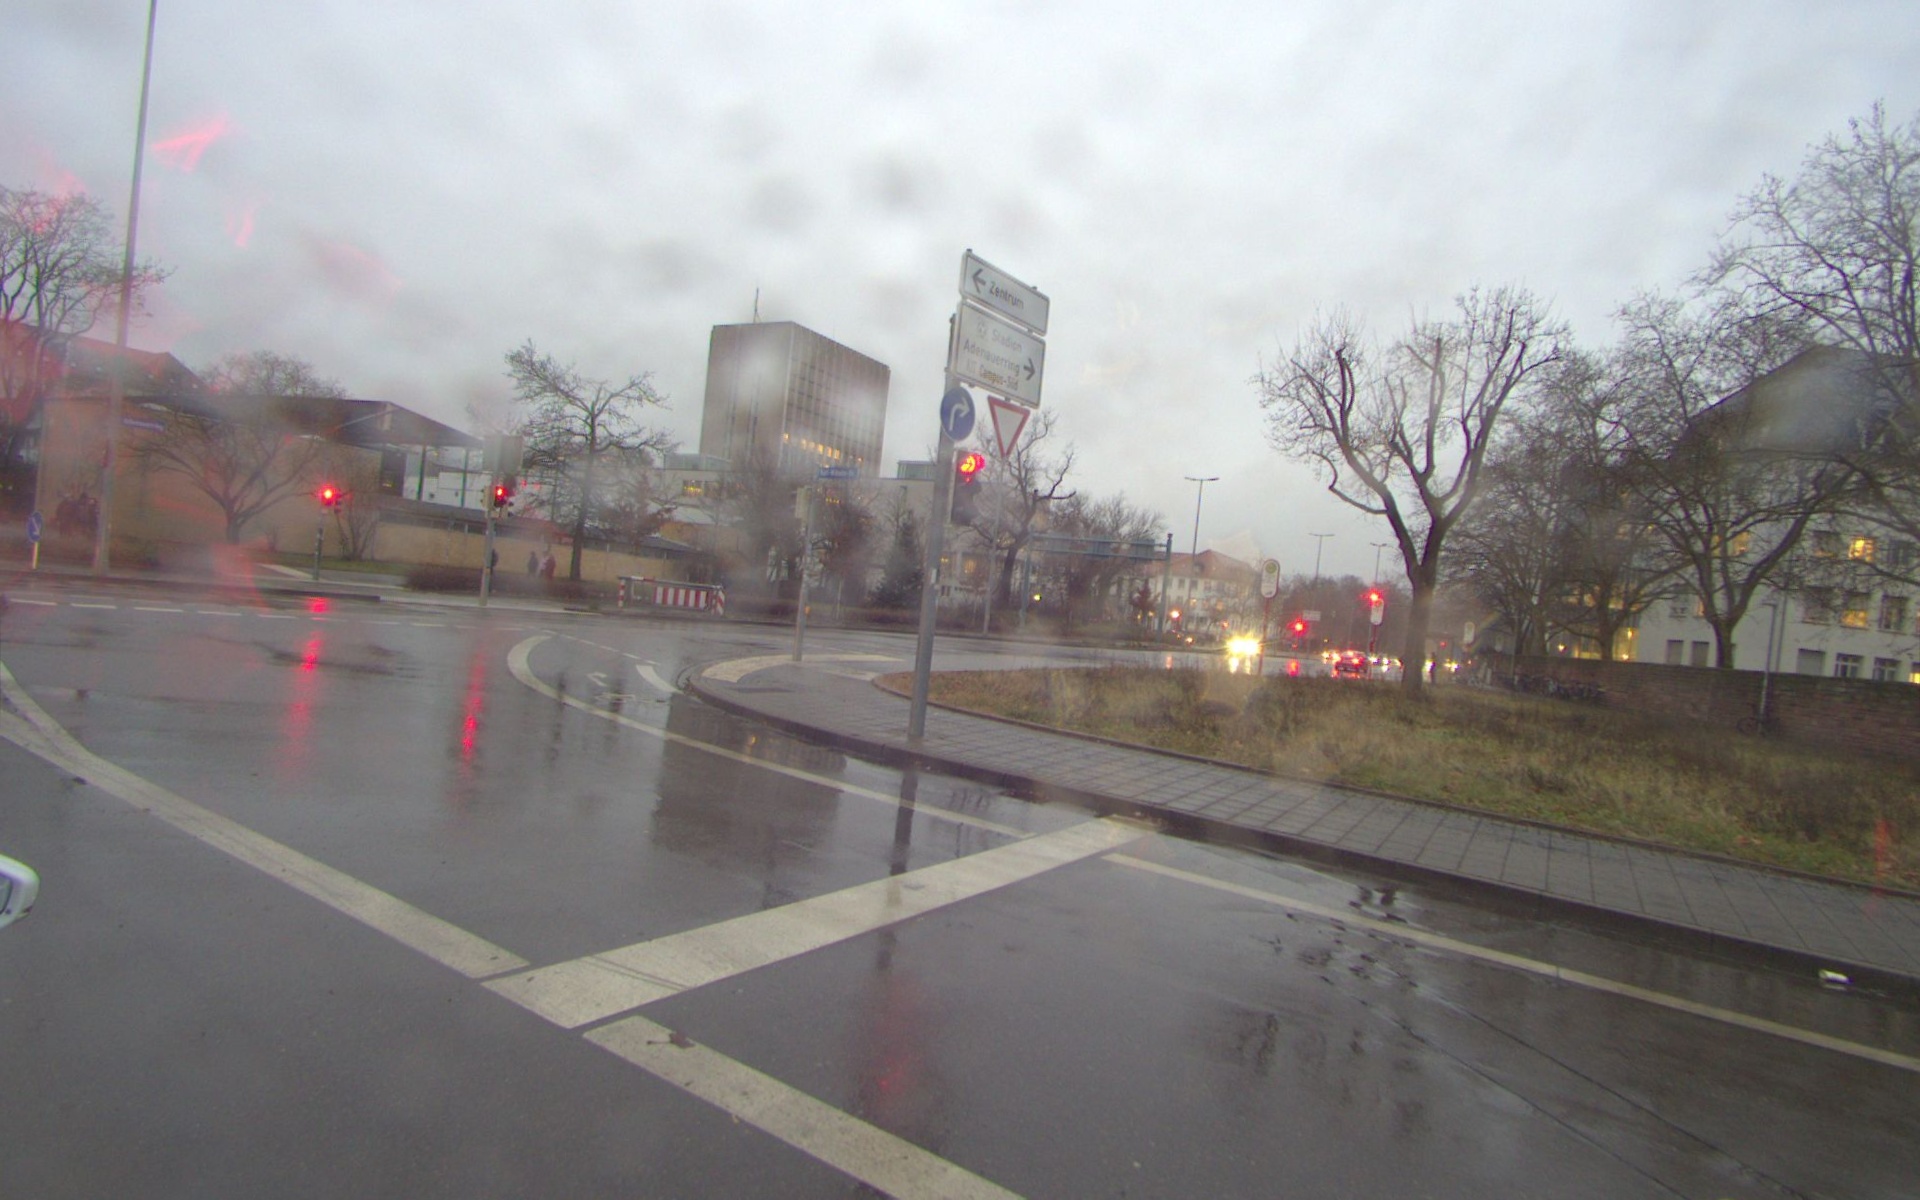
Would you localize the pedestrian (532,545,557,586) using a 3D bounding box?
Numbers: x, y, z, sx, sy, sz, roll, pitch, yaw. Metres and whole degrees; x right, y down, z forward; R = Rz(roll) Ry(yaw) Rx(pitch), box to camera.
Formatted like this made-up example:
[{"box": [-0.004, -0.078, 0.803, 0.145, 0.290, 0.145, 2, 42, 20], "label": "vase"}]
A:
[{"box": [-18.890, -1.568, 45.708, 0.749, 1.745, 0.623, 5, -1, 38], "label": "pedestrian"}]

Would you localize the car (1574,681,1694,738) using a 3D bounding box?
[{"box": [15.420, 2.501, 23.002, 2.656, 0.989, 1.290, 7, 1, -34], "label": "car"}]

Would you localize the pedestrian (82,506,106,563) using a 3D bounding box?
[{"box": [-28.999, -2.186, 33.696, 0.435, 1.860, 0.455, 6, -1, -40], "label": "pedestrian"}]

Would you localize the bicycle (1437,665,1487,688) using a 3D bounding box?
[{"box": [27.525, 4.208, 55.159, 2.373, 1.003, 0.537, 5, -2, 31], "label": "bicycle"}]

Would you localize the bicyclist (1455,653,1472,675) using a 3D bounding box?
[{"box": [27.239, 3.461, 54.428, 0.690, 1.092, 0.494, 5, -1, 32], "label": "bicyclist"}]

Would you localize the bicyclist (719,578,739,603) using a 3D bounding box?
[{"box": [-12.315, -0.511, 53.694, 0.599, 1.261, 0.697, 5, -2, 40], "label": "bicyclist"}]

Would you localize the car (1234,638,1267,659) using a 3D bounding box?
[{"box": [28.403, 4.790, 98.192, 1.720, 1.670, 4.237, 5, -3, 35], "label": "car"}]

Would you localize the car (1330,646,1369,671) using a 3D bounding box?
[{"box": [30.255, 4.551, 78.083, 1.861, 1.670, 3.635, 5, -3, 35], "label": "car"}]

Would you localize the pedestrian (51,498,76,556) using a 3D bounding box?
[{"box": [-29.545, -2.395, 33.150, 0.436, 1.860, 0.455, 7, -1, -40], "label": "pedestrian"}]

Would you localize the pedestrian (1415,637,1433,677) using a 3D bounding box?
[{"box": [22.435, 2.778, 48.635, 0.633, 1.857, 0.836, 5, -1, 23], "label": "pedestrian"}]

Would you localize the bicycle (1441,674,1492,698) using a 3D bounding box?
[{"box": [27.373, 4.649, 54.430, 2.373, 1.003, 0.479, 5, -2, 31], "label": "bicycle"}]

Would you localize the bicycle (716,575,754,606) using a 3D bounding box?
[{"box": [-12.075, -0.478, 54.009, 0.584, 1.439, 1.922, 5, -2, 40], "label": "bicycle"}]

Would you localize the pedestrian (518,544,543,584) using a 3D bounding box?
[{"box": [-19.744, -1.667, 46.250, 0.749, 1.745, 0.623, 5, -1, 38], "label": "pedestrian"}]

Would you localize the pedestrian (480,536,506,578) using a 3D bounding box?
[{"box": [-20.677, -1.902, 44.510, 0.749, 1.745, 0.623, 5, -1, 38], "label": "pedestrian"}]

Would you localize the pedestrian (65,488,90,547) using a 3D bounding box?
[{"box": [-28.736, -2.670, 32.751, 0.456, 1.860, 0.434, 7, -1, -41], "label": "pedestrian"}]
